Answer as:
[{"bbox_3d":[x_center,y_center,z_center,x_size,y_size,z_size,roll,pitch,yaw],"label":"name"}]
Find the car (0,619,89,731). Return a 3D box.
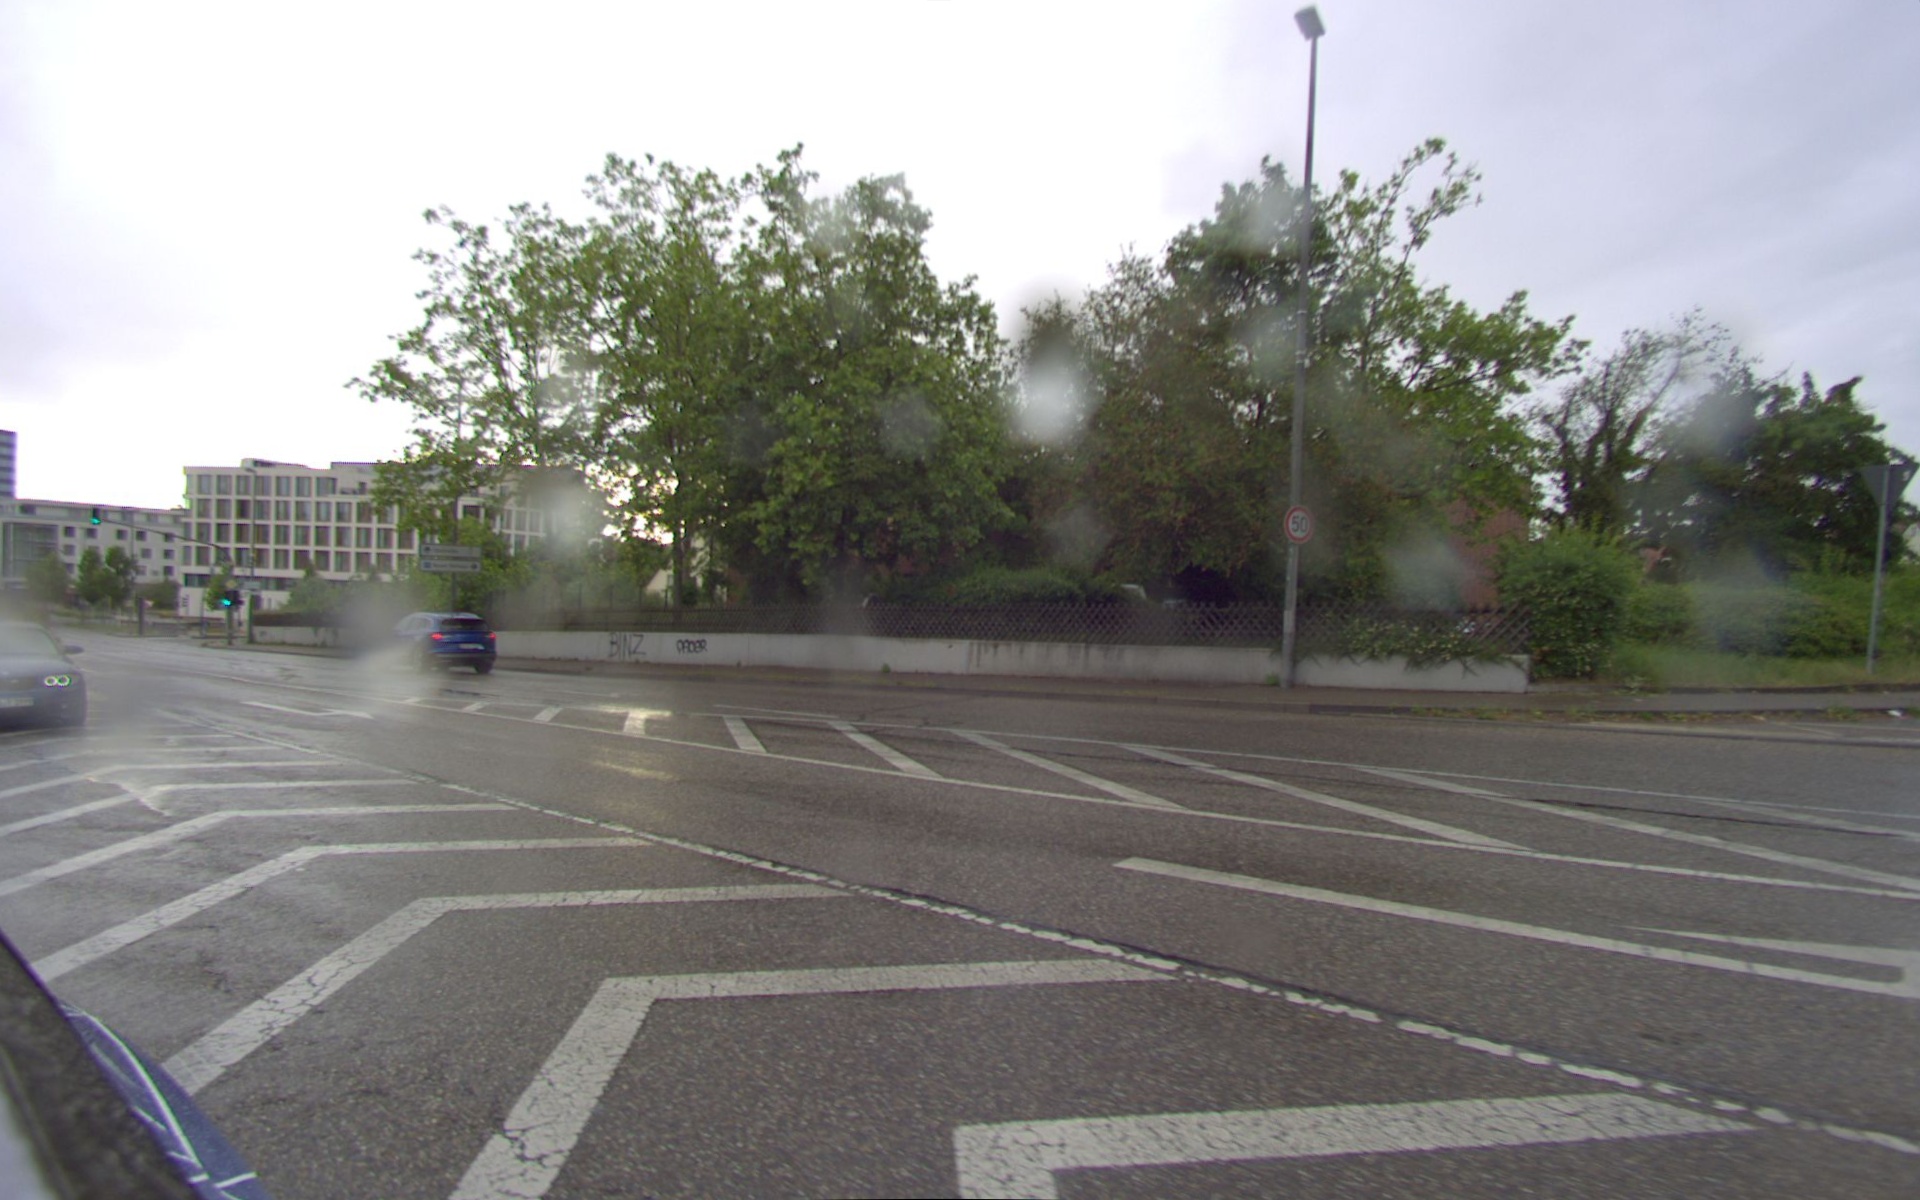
[{"bbox_3d":[-13.528,0.979,14.138,3.706,1.353,1.762,0,0,44],"label":"car"}]

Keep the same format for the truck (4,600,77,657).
[{"bbox_3d":[-42.757,1.247,47.000,6.202,2.458,2.139,0,0,45],"label":"truck"}]

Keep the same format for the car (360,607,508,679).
[{"bbox_3d":[-14.287,1.084,27.381,4.702,1.706,1.973,0,1,41],"label":"car"}]

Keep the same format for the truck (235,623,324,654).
[{"bbox_3d":[-58.299,3.322,86.869,2.211,2.557,6.136,1,-2,19],"label":"truck"}]
